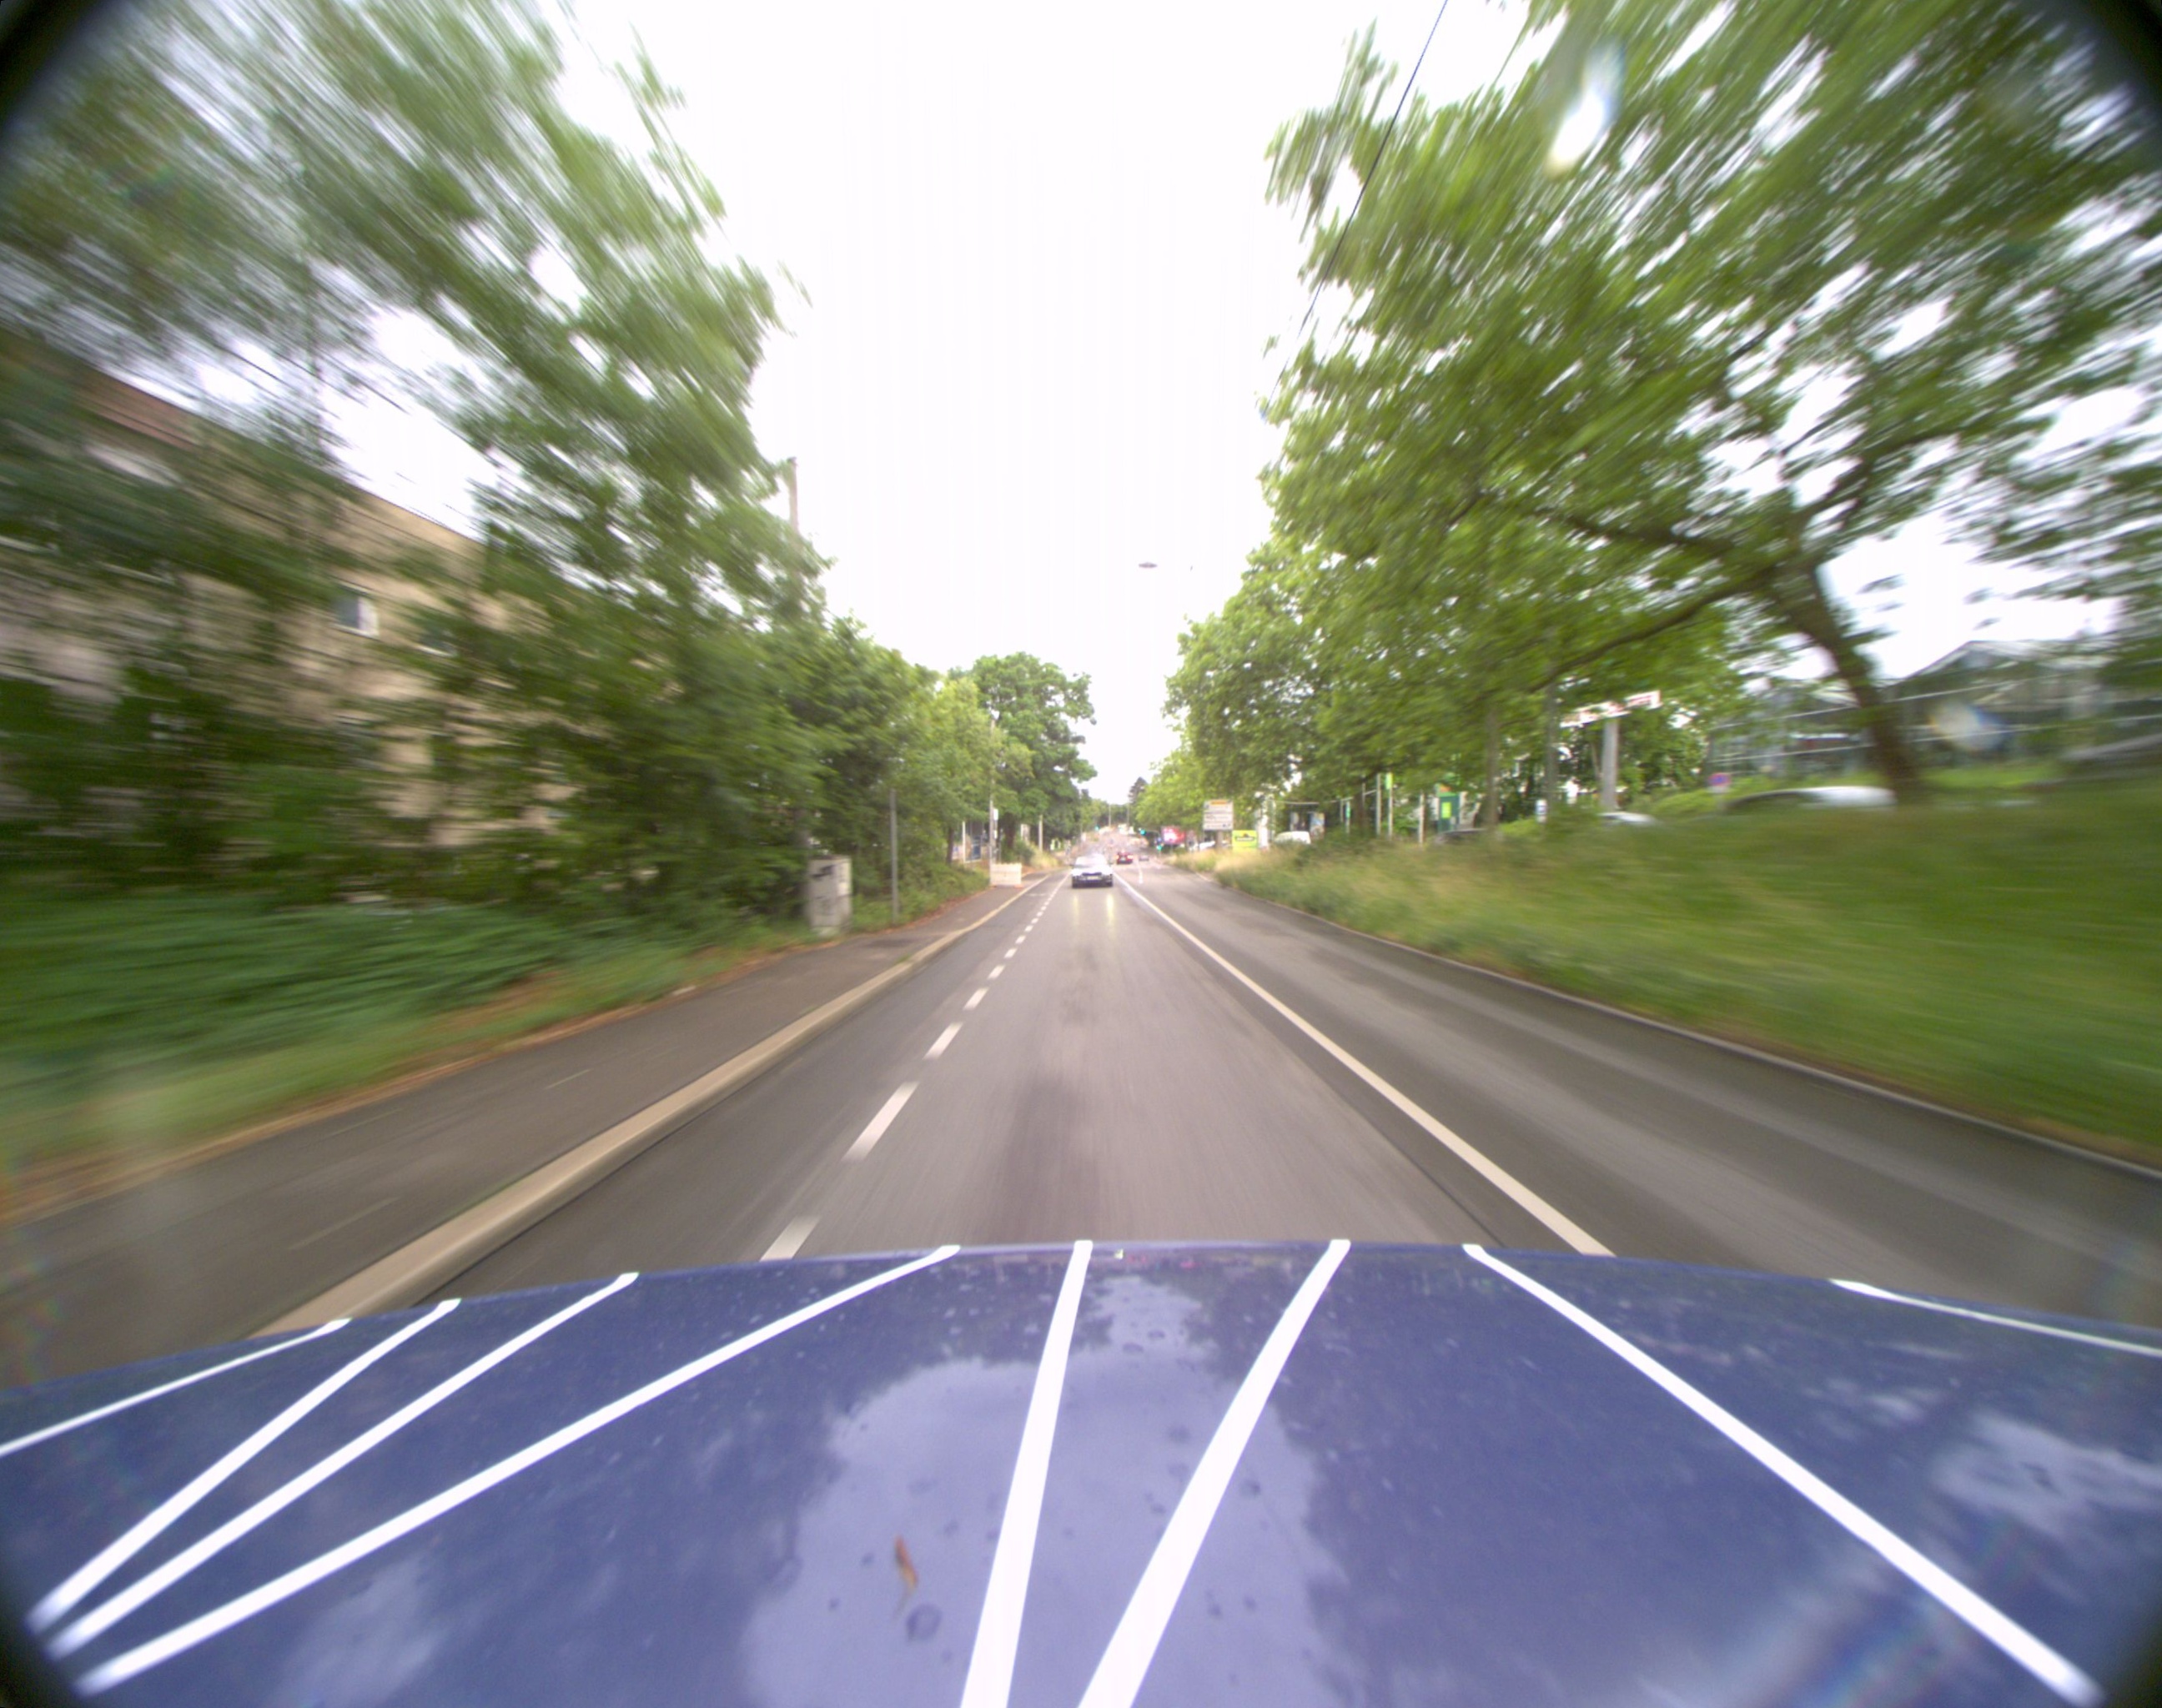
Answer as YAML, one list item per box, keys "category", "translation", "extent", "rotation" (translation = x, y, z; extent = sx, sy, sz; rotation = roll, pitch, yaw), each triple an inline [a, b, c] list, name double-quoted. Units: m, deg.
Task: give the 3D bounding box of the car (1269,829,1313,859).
- category: "car"
  translation: [17.952, -0.791, 65.297]
  extent: [1.968, 2.429, 5.655]
  rotation: [0, -1, -3]

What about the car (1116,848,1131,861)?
- category: "car"
  translation: [6.108, 0.042, 109.213]
  extent: [2.019, 1.856, 5.042]
  rotation: [0, 0, 2]

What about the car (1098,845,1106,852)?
- category: "car"
  translation: [4.894, -1.363, 177.217]
  extent: [1.752, 1.362, 3.754]
  rotation: [-4, 2, -1]

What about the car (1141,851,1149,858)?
- category: "car"
  translation: [11.994, 0.103, 142.492]
  extent: [1.380, 1.216, 2.452]
  rotation: [0, 2, 1]

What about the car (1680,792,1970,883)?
- category: "car"
  translation: [12.937, -0.326, 13.544]
  extent: [1.707, 1.396, 3.443]
  rotation: [-1, 2, -2]

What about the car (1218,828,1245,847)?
- category: "car"
  translation: [11.992, -1.352, 60.703]
  extent: [1.364, 1.387, 3.706]
  rotation: [-1, 2, 0]

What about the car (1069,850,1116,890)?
- category: "car"
  translation: [0.497, 0.662, 32.984]
  extent: [1.811, 1.509, 4.052]
  rotation: [-3, 0, 1]
